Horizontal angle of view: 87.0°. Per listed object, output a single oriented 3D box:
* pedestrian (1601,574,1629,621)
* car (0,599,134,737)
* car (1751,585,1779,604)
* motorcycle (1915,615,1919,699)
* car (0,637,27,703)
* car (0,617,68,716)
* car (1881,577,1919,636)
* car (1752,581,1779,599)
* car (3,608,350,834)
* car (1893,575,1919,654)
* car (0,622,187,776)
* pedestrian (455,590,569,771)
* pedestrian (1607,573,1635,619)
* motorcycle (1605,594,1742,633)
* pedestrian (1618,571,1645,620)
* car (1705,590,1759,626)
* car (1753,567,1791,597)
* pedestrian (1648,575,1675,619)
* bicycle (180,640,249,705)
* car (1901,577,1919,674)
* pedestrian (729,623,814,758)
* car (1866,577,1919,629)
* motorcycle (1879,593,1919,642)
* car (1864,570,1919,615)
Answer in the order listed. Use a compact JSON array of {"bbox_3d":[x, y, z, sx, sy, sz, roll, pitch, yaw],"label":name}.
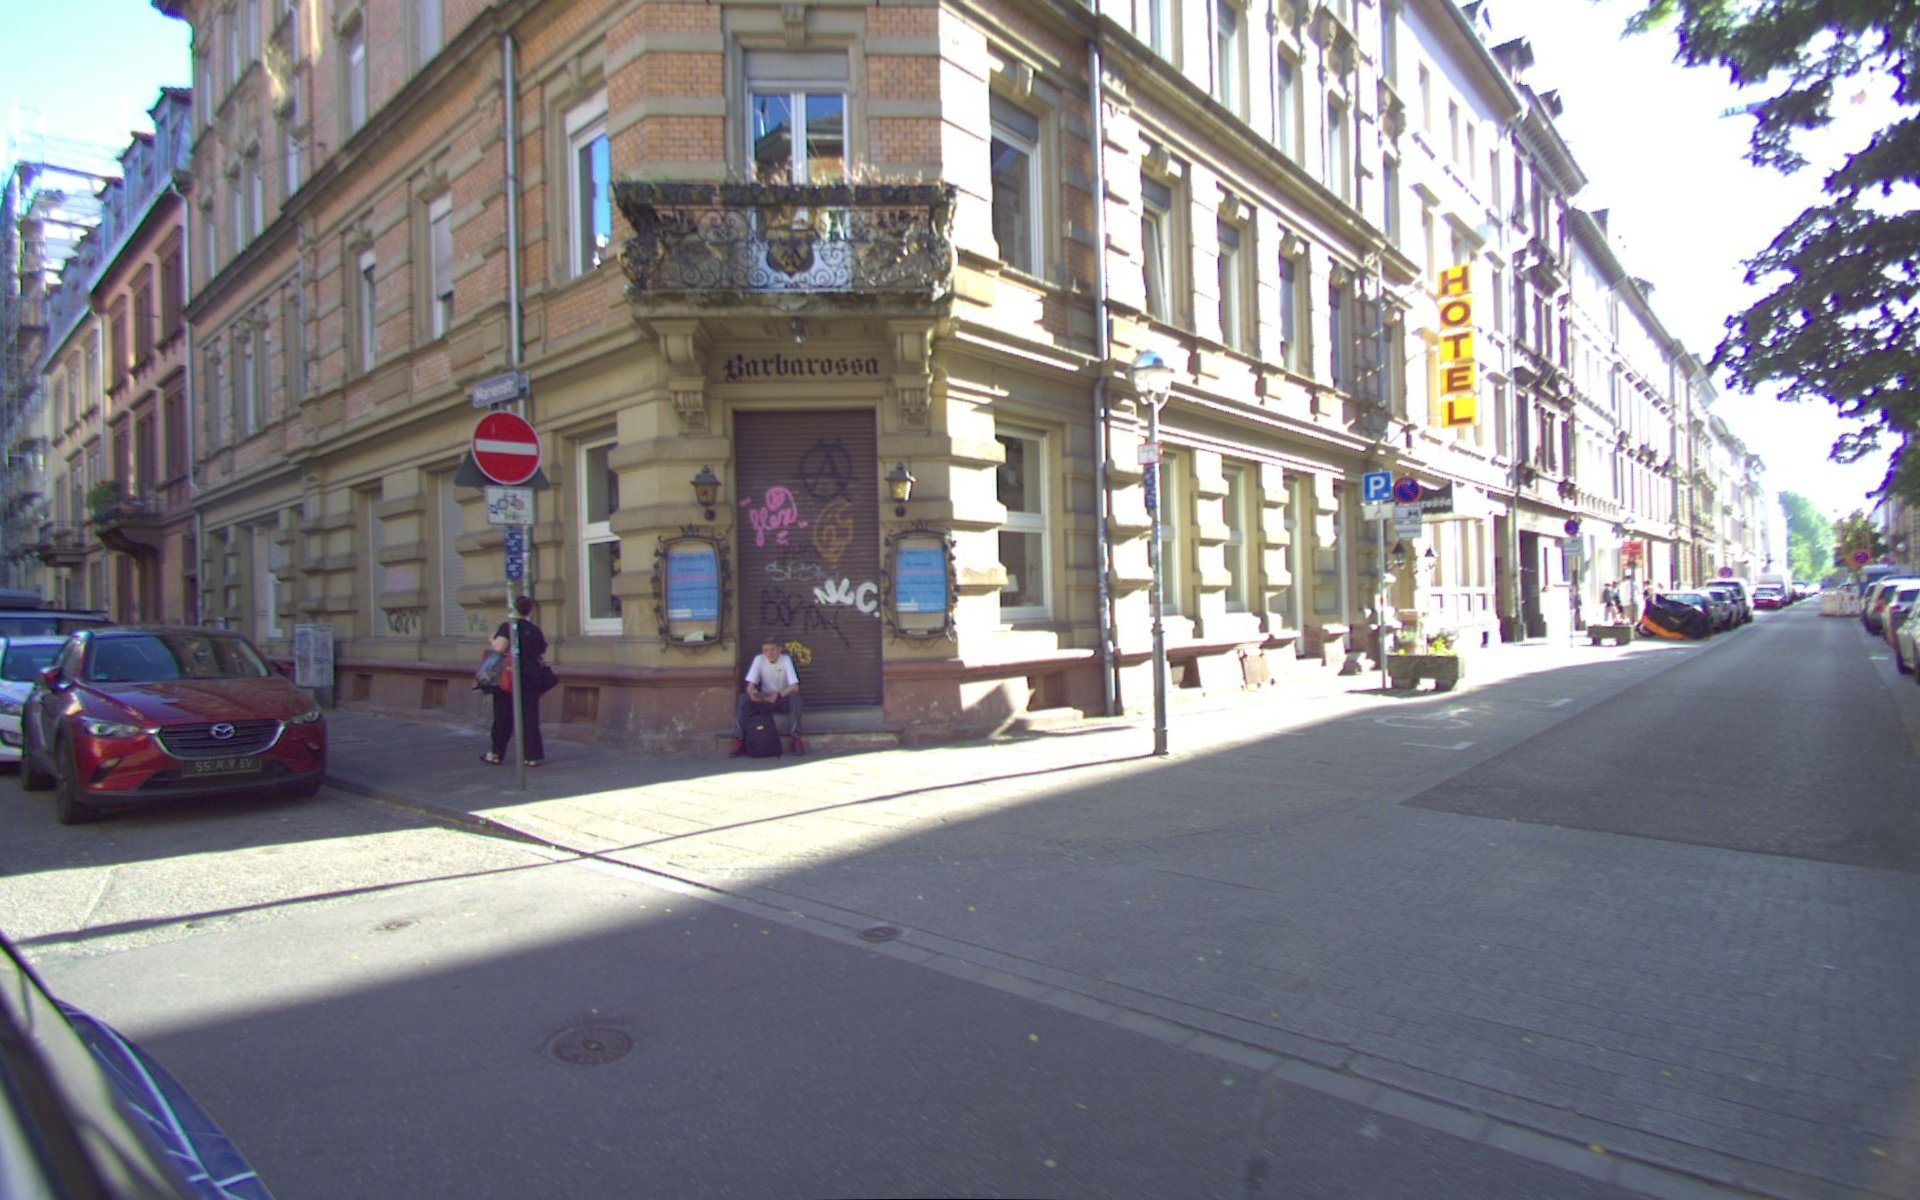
[{"bbox_3d":[25.411,-0.107,39.245,0.701,1.771,0.724,-6,3,-43],"label":"pedestrian"},{"bbox_3d":[-14.340,0.981,15.524,4.607,1.798,1.873,-2,1,42],"label":"car"},{"bbox_3d":[53.212,-0.367,66.936,1.382,1.171,3.284,-2,-1,38],"label":"car"},{"bbox_3d":[12.263,0.656,11.428,2.103,0.982,0.563,-2,0,41],"label":"motorcycle"},{"bbox_3d":[-21.780,1.557,22.045,3.999,1.323,1.681,-2,3,42],"label":"car"},{"bbox_3d":[-18.184,1.224,18.907,4.607,1.636,1.769,-2,1,43],"label":"car"},{"bbox_3d":[25.215,0.114,26.272,1.730,1.431,4.084,-2,0,40],"label":"car"},{"bbox_3d":[56.397,-0.713,70.900,1.382,1.171,3.284,-2,-1,38],"label":"car"},{"bbox_3d":[-7.118,0.900,9.038,4.088,1.492,1.704,-2,1,42],"label":"car"},{"bbox_3d":[19.954,0.223,20.197,1.730,1.472,4.221,-2,0,40],"label":"car"},{"bbox_3d":[-10.526,1.039,11.732,3.871,1.431,1.657,-2,1,40],"label":"car"},{"bbox_3d":[-4.197,0.725,9.489,0.759,1.592,0.660,-2,0,41],"label":"pedestrian"},{"bbox_3d":[25.993,-0.149,39.785,0.701,1.771,0.724,-6,3,-43],"label":"pedestrian"},{"bbox_3d":[21.065,0.375,29.978,1.313,1.070,3.067,0,1,-25],"label":"motorcycle"},{"bbox_3d":[24.862,-0.167,37.470,0.711,1.771,0.714,-2,3,41],"label":"pedestrian"},{"bbox_3d":[26.788,0.255,35.116,1.382,1.171,3.284,-2,-1,38],"label":"car"},{"bbox_3d":[62.372,-1.397,77.712,2.053,2.120,4.578,-2,1,41],"label":"car"},{"bbox_3d":[25.967,-0.113,37.457,0.711,1.578,0.714,-2,3,41],"label":"pedestrian"},{"bbox_3d":[-14.206,1.355,19.261,1.784,1.133,0.660,-3,2,42],"label":"bicycle"},{"bbox_3d":[15.556,0.343,15.218,1.795,1.431,4.221,-2,0,40],"label":"car"},{"bbox_3d":[-1.823,0.839,9.724,0.657,1.186,0.750,-3,0,-19],"label":"pedestrian"},{"bbox_3d":[28.330,0.057,30.232,1.730,1.431,3.869,-2,0,40],"label":"car"},{"bbox_3d":[21.978,0.393,22.465,2.311,1.070,0.911,1,1,42],"label":"motorcycle"},{"bbox_3d":[31.794,-0.285,34.165,1.730,1.431,3.869,-2,0,40],"label":"car"}]
